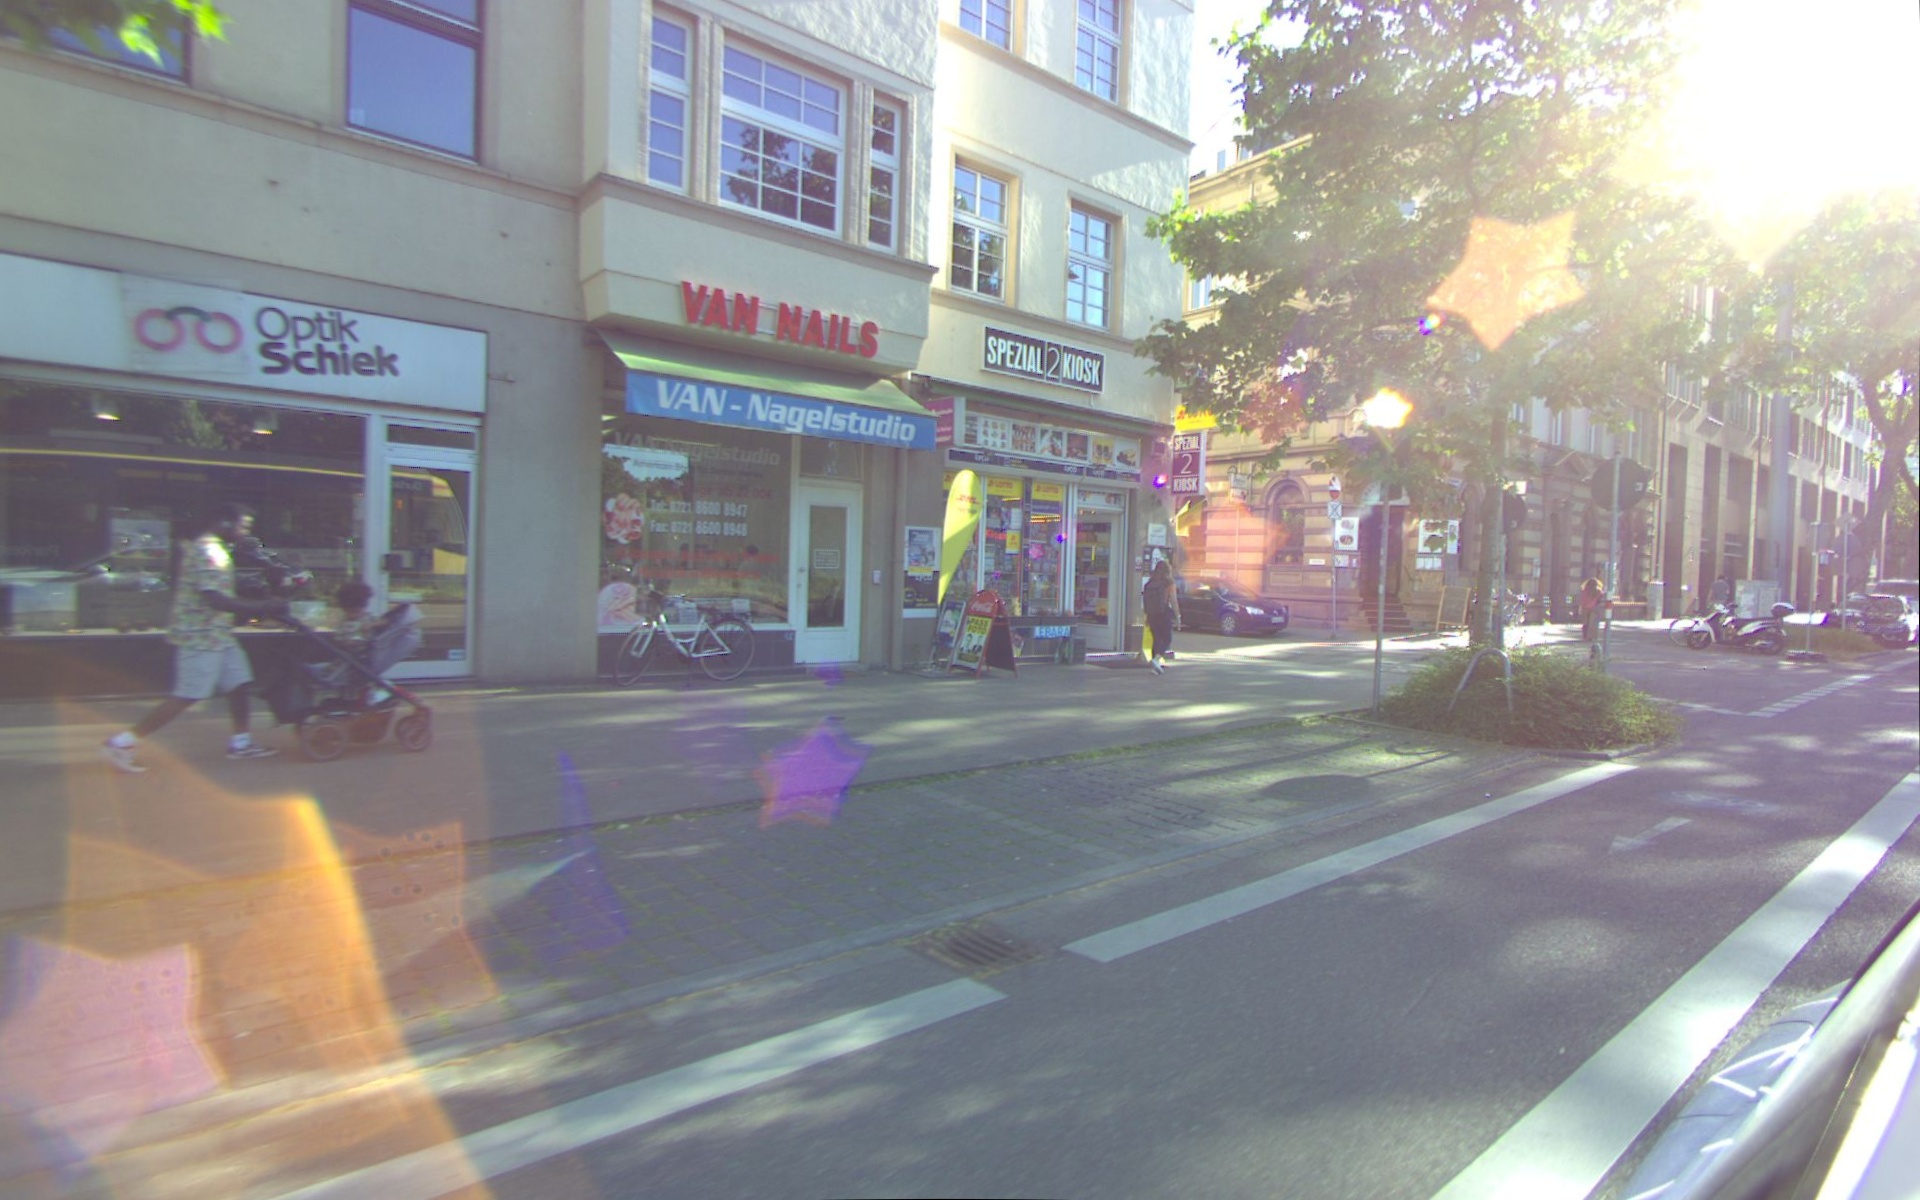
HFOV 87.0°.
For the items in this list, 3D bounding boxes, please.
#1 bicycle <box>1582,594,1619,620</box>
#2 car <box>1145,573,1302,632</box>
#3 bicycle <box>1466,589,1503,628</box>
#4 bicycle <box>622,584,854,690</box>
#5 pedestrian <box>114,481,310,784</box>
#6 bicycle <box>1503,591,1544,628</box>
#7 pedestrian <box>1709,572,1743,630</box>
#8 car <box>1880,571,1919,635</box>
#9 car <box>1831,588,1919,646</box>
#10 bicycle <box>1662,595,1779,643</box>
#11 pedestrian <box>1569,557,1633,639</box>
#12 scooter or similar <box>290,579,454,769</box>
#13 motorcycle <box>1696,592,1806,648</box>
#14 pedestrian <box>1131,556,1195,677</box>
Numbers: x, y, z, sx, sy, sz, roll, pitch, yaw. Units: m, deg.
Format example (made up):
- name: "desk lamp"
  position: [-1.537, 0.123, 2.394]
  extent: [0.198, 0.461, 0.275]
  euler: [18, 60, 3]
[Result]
- name: "bicycle"
  position: [21.330, 0.224, 33.685]
  extent: [1.634, 0.783, 0.550]
  euler: [-1, 3, -41]
- name: "car"
  position: [6.898, 0.019, 26.836]
  extent: [1.605, 1.429, 3.923]
  euler: [0, 1, -35]
- name: "bicycle"
  position: [14.364, 0.228, 27.698]
  extent: [1.700, 1.033, 0.280]
  euler: [0, 3, -41]
- name: "bicycle"
  position: [-2.399, 0.361, 11.269]
  extent: [2.577, 1.036, 0.491]
  euler: [-1, 5, -41]
- name: "pedestrian"
  position: [-4.725, 0.151, 6.382]
  extent: [0.901, 1.724, 0.860]
  euler: [0, 5, -43]
- name: "bicycle"
  position: [15.980, 0.244, 28.691]
  extent: [1.849, 1.010, 0.415]
  euler: [-1, 1, -41]
- name: "pedestrian"
  position: [24.895, 0.015, 32.883]
  extent: [0.878, 1.850, 0.645]
  euler: [0, 0, -36]
- name: "car"
  position: [32.274, 0.085, 33.704]
  extent: [4.641, 2.040, 1.859]
  euler: [-1, 0, -41]
- name: "car"
  position: [26.579, 0.422, 29.035]
  extent: [4.627, 1.534, 1.821]
  euler: [-1, 0, -42]
- name: "bicycle"
  position: [18.338, 0.445, 24.463]
  extent: [0.447, 1.107, 2.227]
  euler: [0, 0, -39]
- name: "pedestrian"
  position: [16.430, -0.070, 25.943]
  extent: [1.027, 2.038, 1.090]
  euler: [0, 2, -39]
- name: "scooter or similar"
  position: [-4.097, 0.464, 7.048]
  extent: [0.835, 1.186, 0.745]
  euler: [0, 4, -44]
- name: "motorcycle"
  position: [18.214, 0.436, 23.339]
  extent: [0.507, 1.246, 1.951]
  euler: [0, 0, -43]
- name: "pedestrian"
  position: [2.840, 0.225, 14.177]
  extent: [0.553, 1.642, 0.682]
  euler: [0, 0, -43]
